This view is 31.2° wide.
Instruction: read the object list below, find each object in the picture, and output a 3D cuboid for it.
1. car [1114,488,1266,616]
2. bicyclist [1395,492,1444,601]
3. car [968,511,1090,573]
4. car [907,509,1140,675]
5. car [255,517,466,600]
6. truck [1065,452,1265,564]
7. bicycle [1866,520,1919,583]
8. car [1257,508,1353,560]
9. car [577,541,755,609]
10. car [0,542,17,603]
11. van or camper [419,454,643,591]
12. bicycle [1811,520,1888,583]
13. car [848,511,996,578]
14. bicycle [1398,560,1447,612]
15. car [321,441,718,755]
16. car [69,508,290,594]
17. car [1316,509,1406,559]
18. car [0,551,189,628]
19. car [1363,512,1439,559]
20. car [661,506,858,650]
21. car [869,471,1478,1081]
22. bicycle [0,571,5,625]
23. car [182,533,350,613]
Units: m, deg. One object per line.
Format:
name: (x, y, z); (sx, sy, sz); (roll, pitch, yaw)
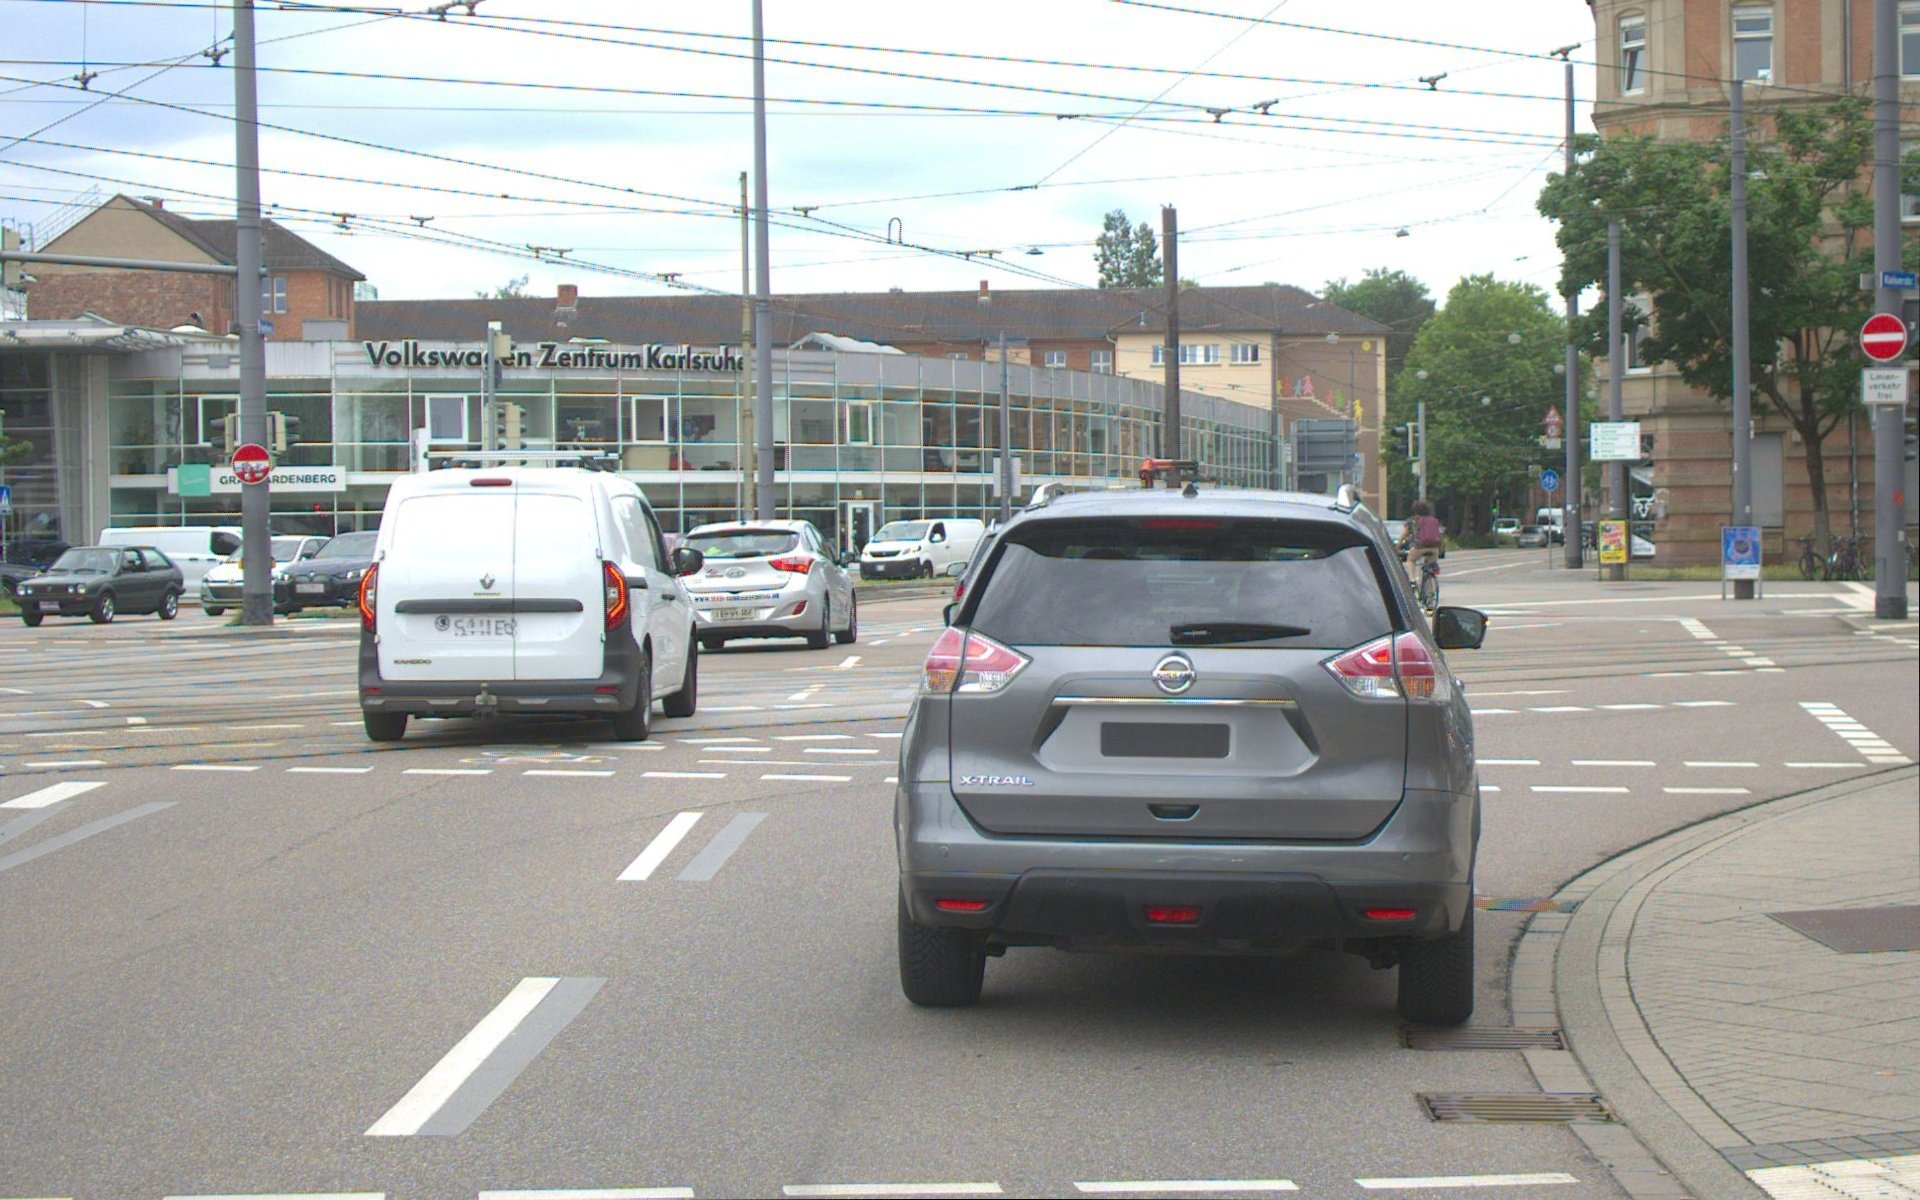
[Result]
car: (3.820, -0.792, 56.496); (1.994, 2.007, 3.998); (1, 1, 11)
bicyclist: (7.253, -0.845, 54.265); (0.687, 1.702, 0.798); (-1, 1, 2)
car: (2.111, -1.764, 104.029); (1.996, 1.832, 4.517); (0, 1, 26)
car: (0.627, -0.107, 31.597); (1.994, 1.415, 4.000); (-1, 1, 2)
car: (-10.606, -0.756, 61.187); (1.995, 1.415, 4.659); (0, 1, 14)
truck: (6.835, -2.974, 113.143); (2.798, 3.537, 9.209); (1, 1, 29)
bicycle: (20.636, -1.051, 75.120); (0.959, 1.349, 3.116); (1, 1, 27)
car: (12.338, -2.371, 122.802); (1.996, 1.832, 4.517); (0, 1, 26)
car: (-6.409, -0.576, 75.521); (1.996, 1.415, 4.796); (0, 1, 21)
car: (-23.492, -0.611, 79.308); (1.636, 1.415, 3.735); (0, 1, 17)
van or camper: (-8.549, -1.541, 69.236); (2.417, 2.602, 6.048); (1, 1, 14)
bicycle: (19.554, -1.071, 75.547); (0.959, 1.349, 3.116); (1, 1, 27)
car: (-1.027, -1.601, 97.564); (2.159, 1.850, 5.441); (0, 1, 23)
bicycle: (7.307, -0.231, 54.342); (0.619, 0.791, 1.592); (-1, 1, 2)
car: (-2.869, -0.056, 23.305); (1.912, 1.933, 4.131); (0, 1, 4)
car: (-18.915, -1.196, 83.374); (4.769, 2.007, 2.120); (1, 1, 14)
car: (15.117, -2.497, 129.464); (1.996, 1.832, 4.517); (0, 1, 26)
car: (-14.839, -0.197, 58.882); (1.687, 1.242, 3.735); (0, 1, 14)
car: (17.462, -2.562, 135.929); (1.996, 1.832, 4.518); (0, 1, 21)
car: (-2.183, -0.269, 38.384); (1.853, 1.503, 4.000); (1, 1, 1)
car: (0.835, 0.475, 11.905); (1.750, 1.750, 3.923); (0, 1, 7)
bicycle: (-17.219, -0.001, 58.875); (0.519, 0.923, 2.221); (0, 2, 18)
car: (-12.907, -0.523, 64.161); (1.636, 1.415, 3.735); (0, 1, 14)
